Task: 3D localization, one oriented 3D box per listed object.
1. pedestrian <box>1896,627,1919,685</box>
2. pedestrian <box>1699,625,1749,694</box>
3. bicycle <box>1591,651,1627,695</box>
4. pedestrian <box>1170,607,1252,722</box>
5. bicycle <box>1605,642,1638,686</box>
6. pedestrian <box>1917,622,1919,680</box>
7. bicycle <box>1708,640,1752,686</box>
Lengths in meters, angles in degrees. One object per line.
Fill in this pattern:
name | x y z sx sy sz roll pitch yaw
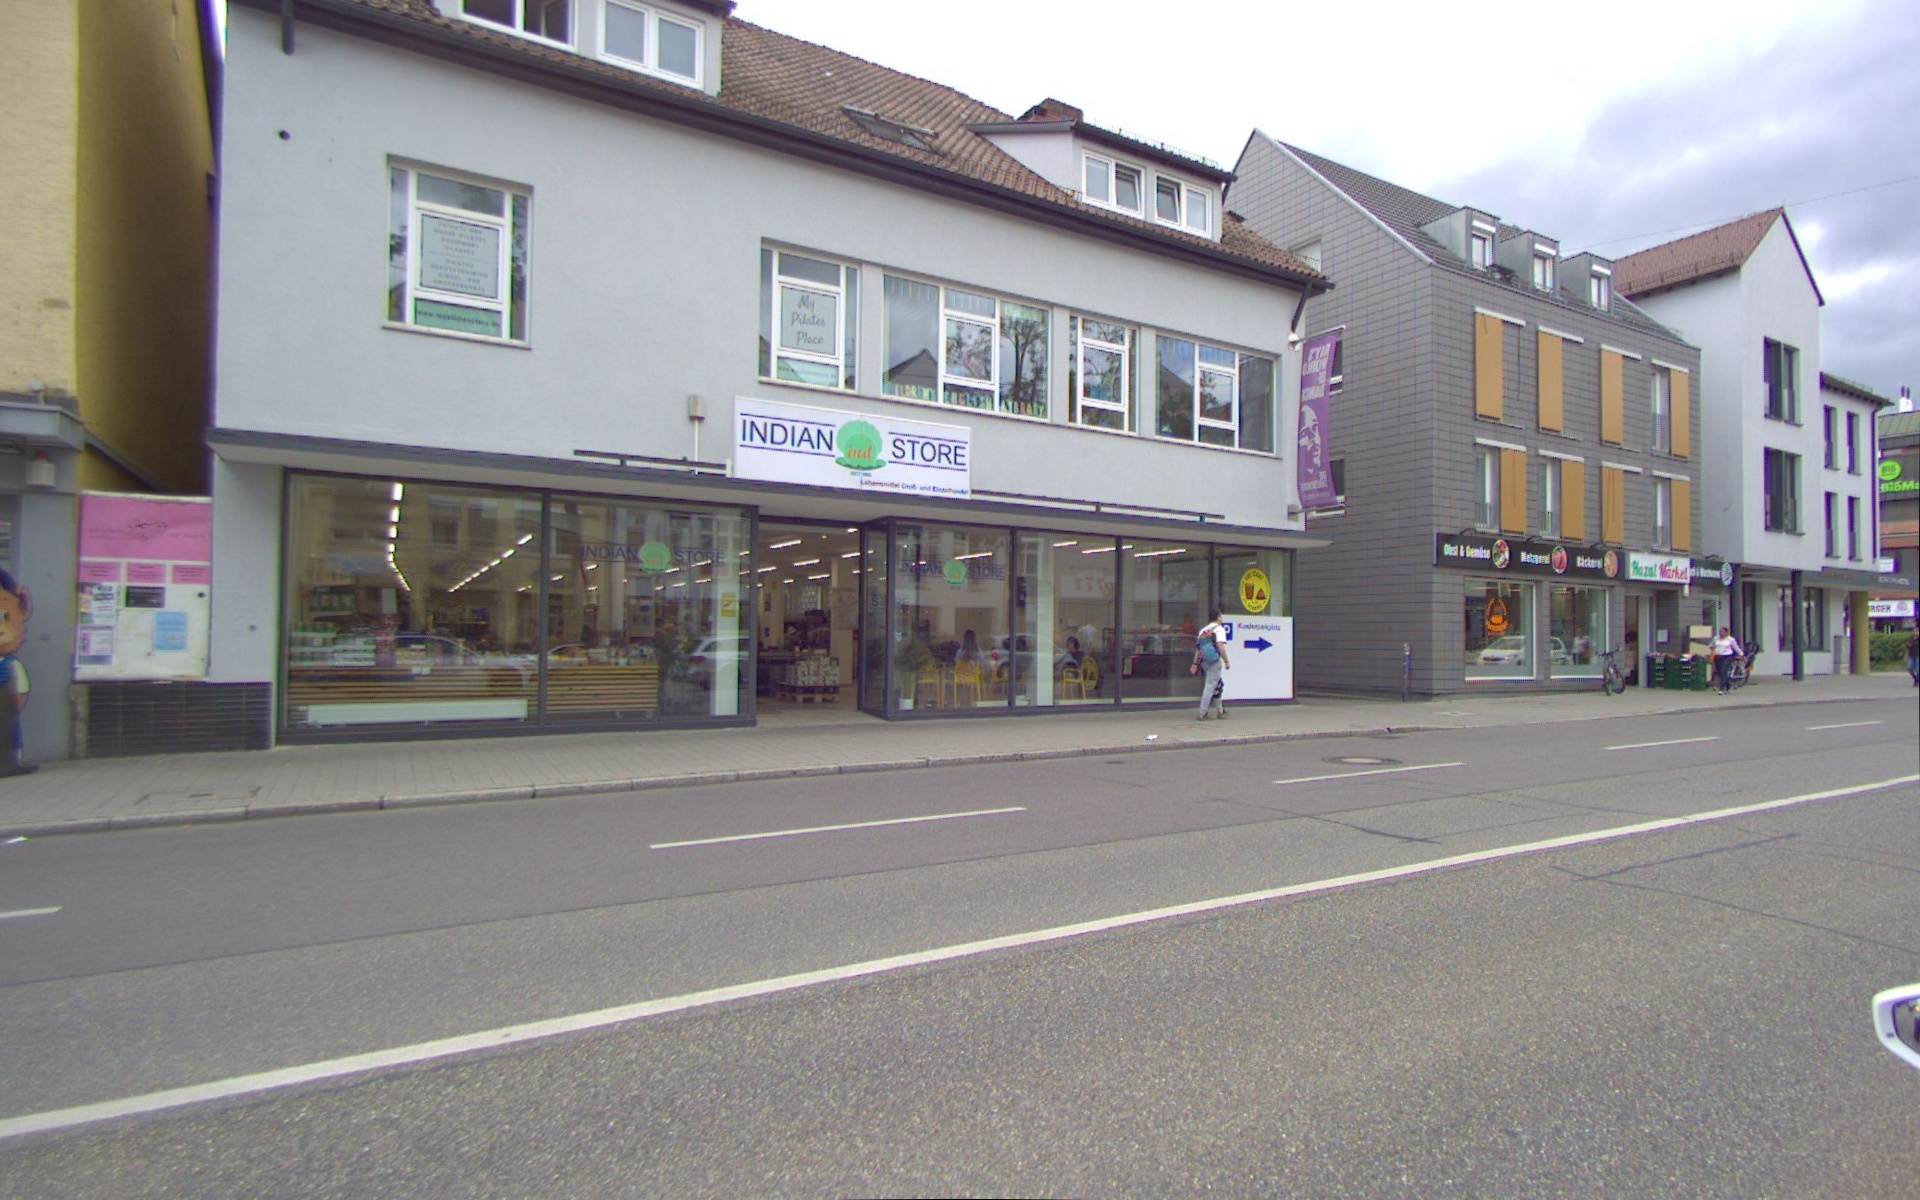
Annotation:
pedestrian | 27.824 1.616 29.346 0.555 1.672 0.646 1 -2 -41
pedestrian | 18.446 1.425 24.262 0.744 1.631 0.725 1 -1 -30
bicycle | 15.167 1.691 23.465 1.472 0.966 0.323 2 -2 -41
pedestrian | 3.969 0.993 15.913 0.969 1.728 0.750 1 2 -30
bicycle | 17.761 1.699 26.975 1.279 1.142 0.383 2 -2 -40
pedestrian | 29.810 1.562 30.793 0.641 1.799 0.565 1 -1 -36
bicycle | 20.849 1.701 27.187 1.806 1.201 0.384 1 -2 -33
